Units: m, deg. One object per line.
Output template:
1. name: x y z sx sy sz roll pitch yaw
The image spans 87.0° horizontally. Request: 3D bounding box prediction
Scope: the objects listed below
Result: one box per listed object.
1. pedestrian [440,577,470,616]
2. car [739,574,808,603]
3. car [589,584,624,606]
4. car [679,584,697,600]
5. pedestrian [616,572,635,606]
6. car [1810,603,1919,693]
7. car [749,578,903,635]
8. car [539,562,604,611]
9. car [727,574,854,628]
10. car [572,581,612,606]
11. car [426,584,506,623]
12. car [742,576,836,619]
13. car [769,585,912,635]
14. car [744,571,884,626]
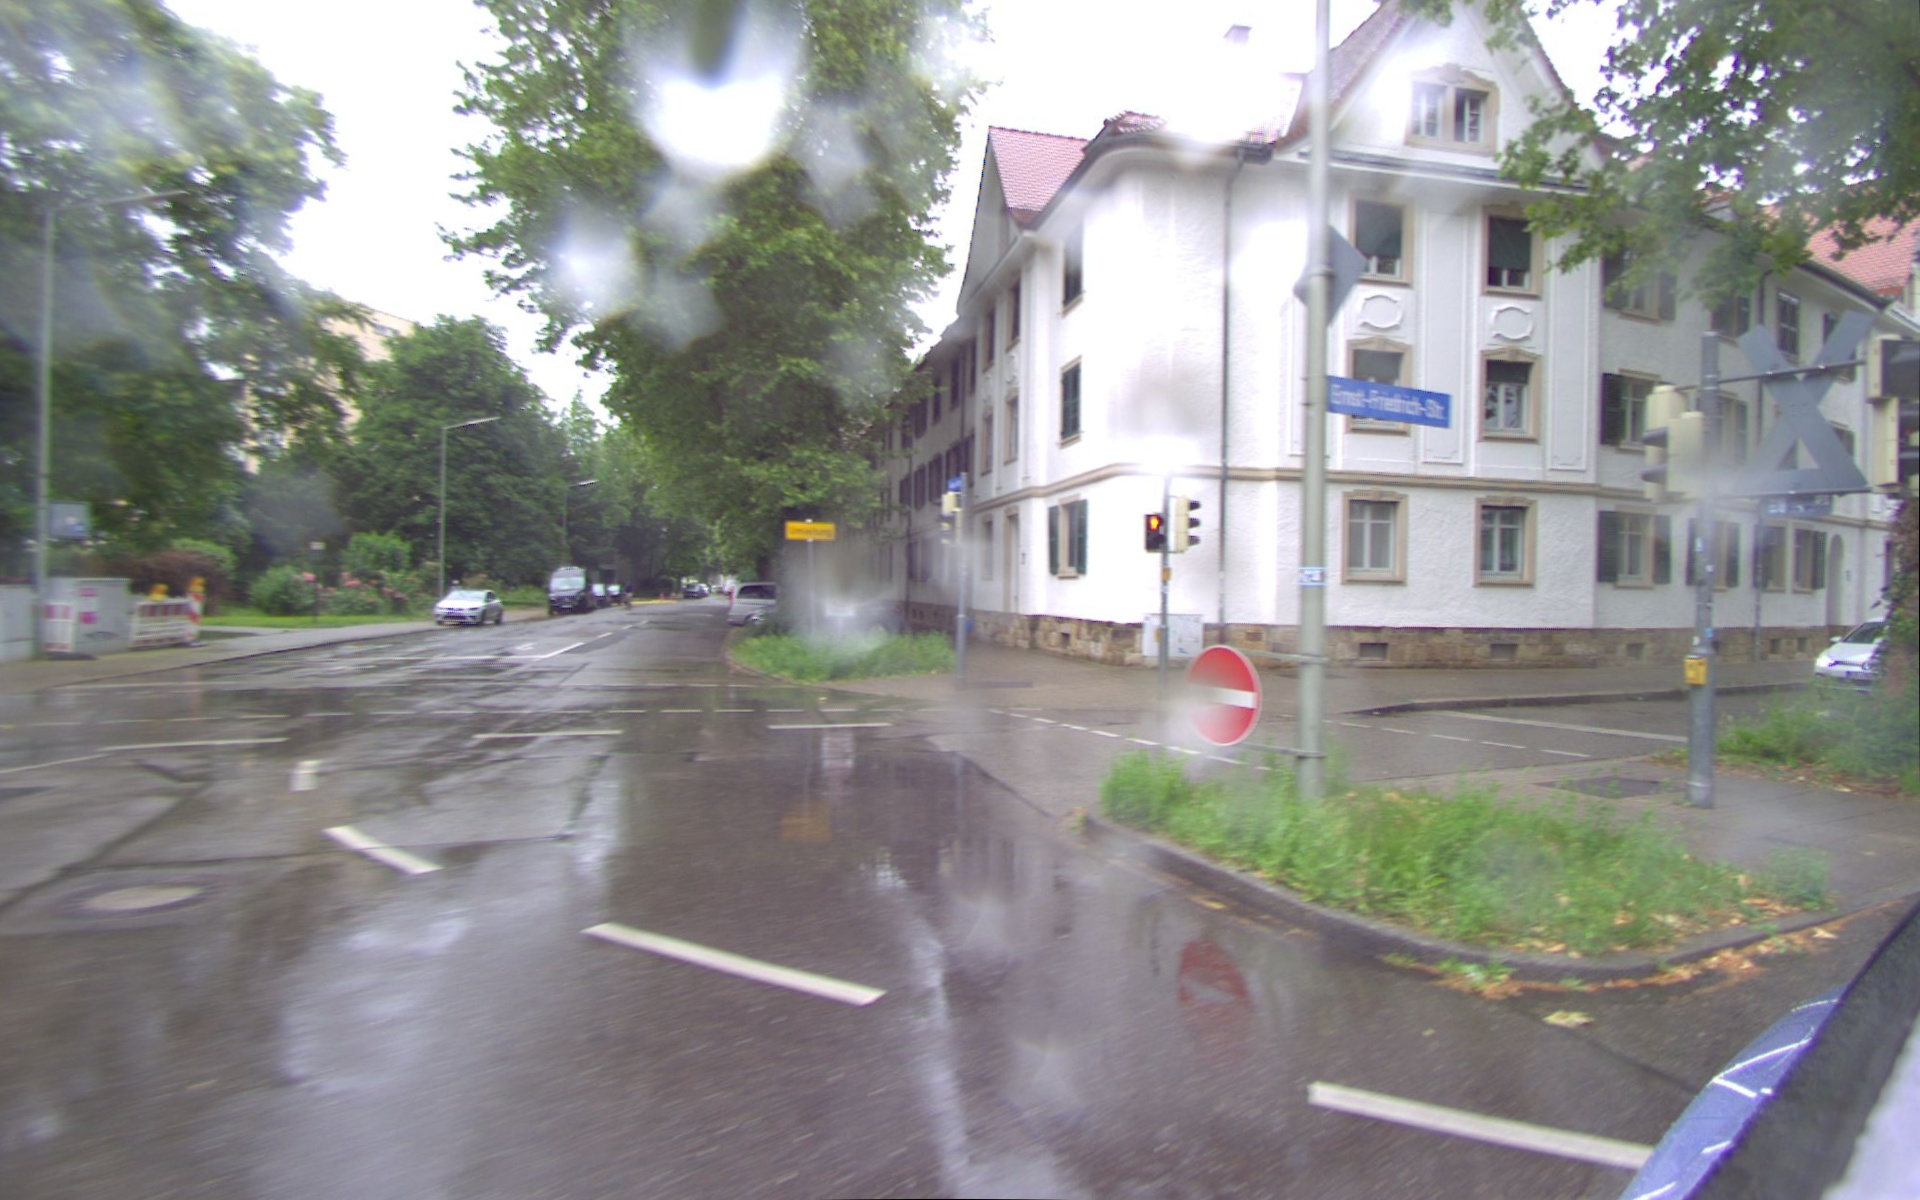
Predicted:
1. pedestrian: -22.179 -0.145 44.465 0.925 1.681 0.930 1 0 -8
2. car: -13.877 -0.859 75.372 4.984 2.049 2.037 1 0 -11
3. car: -25.511 -0.404 73.141 1.958 1.558 4.008 0 1 -12
4. car: -30.690 -0.931 114.097 1.958 1.829 4.359 0 1 -15
5. pedestrian: -20.702 -0.663 62.632 0.925 2.088 1.082 1 0 -8
6. car: 17.219 0.804 17.895 4.309 1.452 1.785 0 -2 -27
7. car: -4.280 0.199 32.193 4.641 1.643 1.934 1 0 -14
8. car: -21.670 -0.748 56.709 2.353 2.506 5.702 1 0 -11
9. car: -6.431 0.046 38.358 4.575 1.897 2.037 1 0 -11
10. car: -23.970 -0.431 66.058 1.958 1.558 4.008 0 1 -12
11. car: -19.790 0.104 40.731 1.785 1.478 4.280 0 1 -10
12. car: -8.404 -0.122 49.585 4.350 1.923 2.037 1 0 -13
13. car: -3.512 0.264 29.554 3.916 1.371 1.801 0 1 -15
14. car: -5.022 -0.043 34.663 4.575 1.712 2.037 1 0 -11
